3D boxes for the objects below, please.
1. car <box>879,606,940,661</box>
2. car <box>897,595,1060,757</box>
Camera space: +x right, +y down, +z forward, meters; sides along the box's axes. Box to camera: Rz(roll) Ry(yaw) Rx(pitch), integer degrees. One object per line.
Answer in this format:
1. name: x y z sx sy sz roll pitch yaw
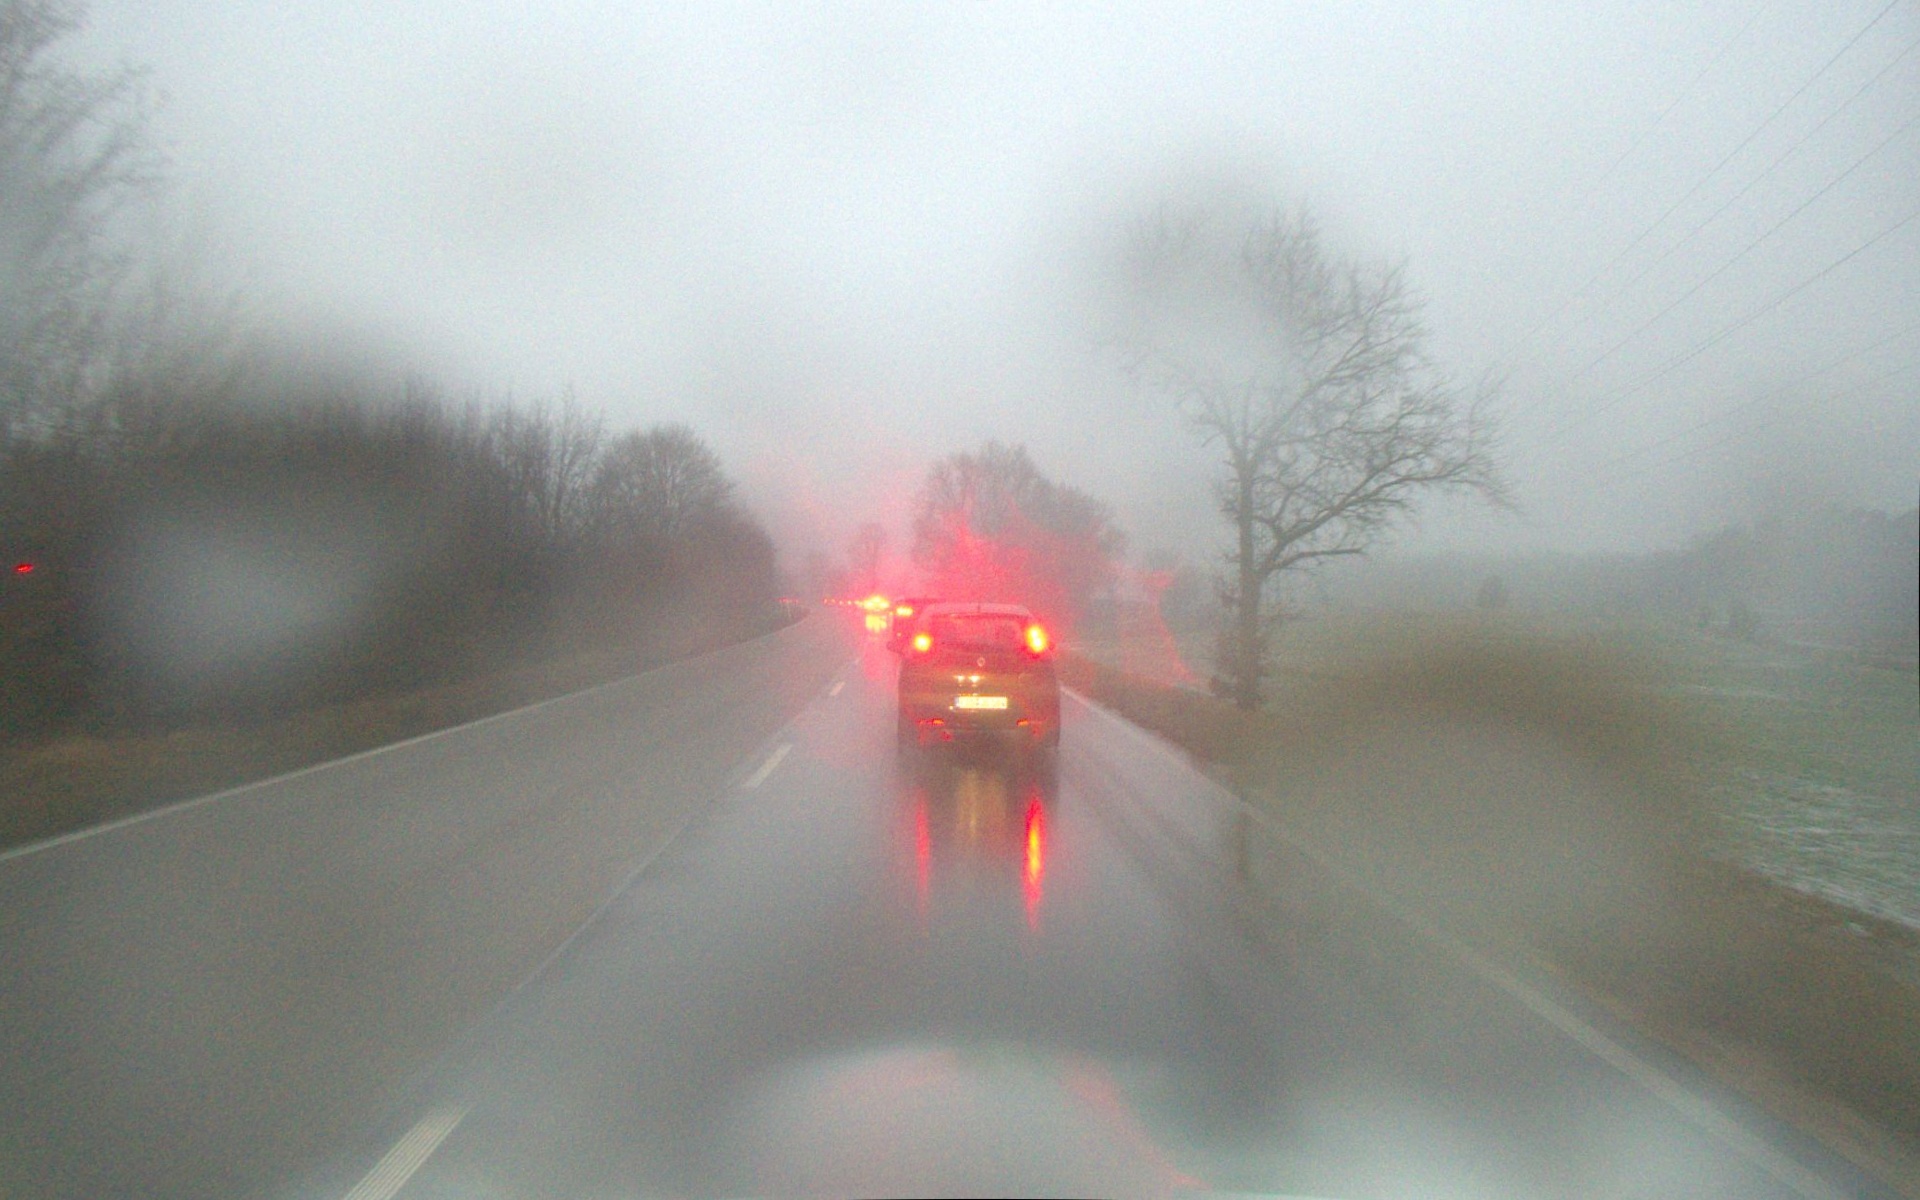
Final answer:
1. car: -1.409 0.877 44.950 1.516 1.421 3.866 1 0 -4
2. car: 0.147 0.746 18.008 1.570 1.549 3.868 1 0 -1
